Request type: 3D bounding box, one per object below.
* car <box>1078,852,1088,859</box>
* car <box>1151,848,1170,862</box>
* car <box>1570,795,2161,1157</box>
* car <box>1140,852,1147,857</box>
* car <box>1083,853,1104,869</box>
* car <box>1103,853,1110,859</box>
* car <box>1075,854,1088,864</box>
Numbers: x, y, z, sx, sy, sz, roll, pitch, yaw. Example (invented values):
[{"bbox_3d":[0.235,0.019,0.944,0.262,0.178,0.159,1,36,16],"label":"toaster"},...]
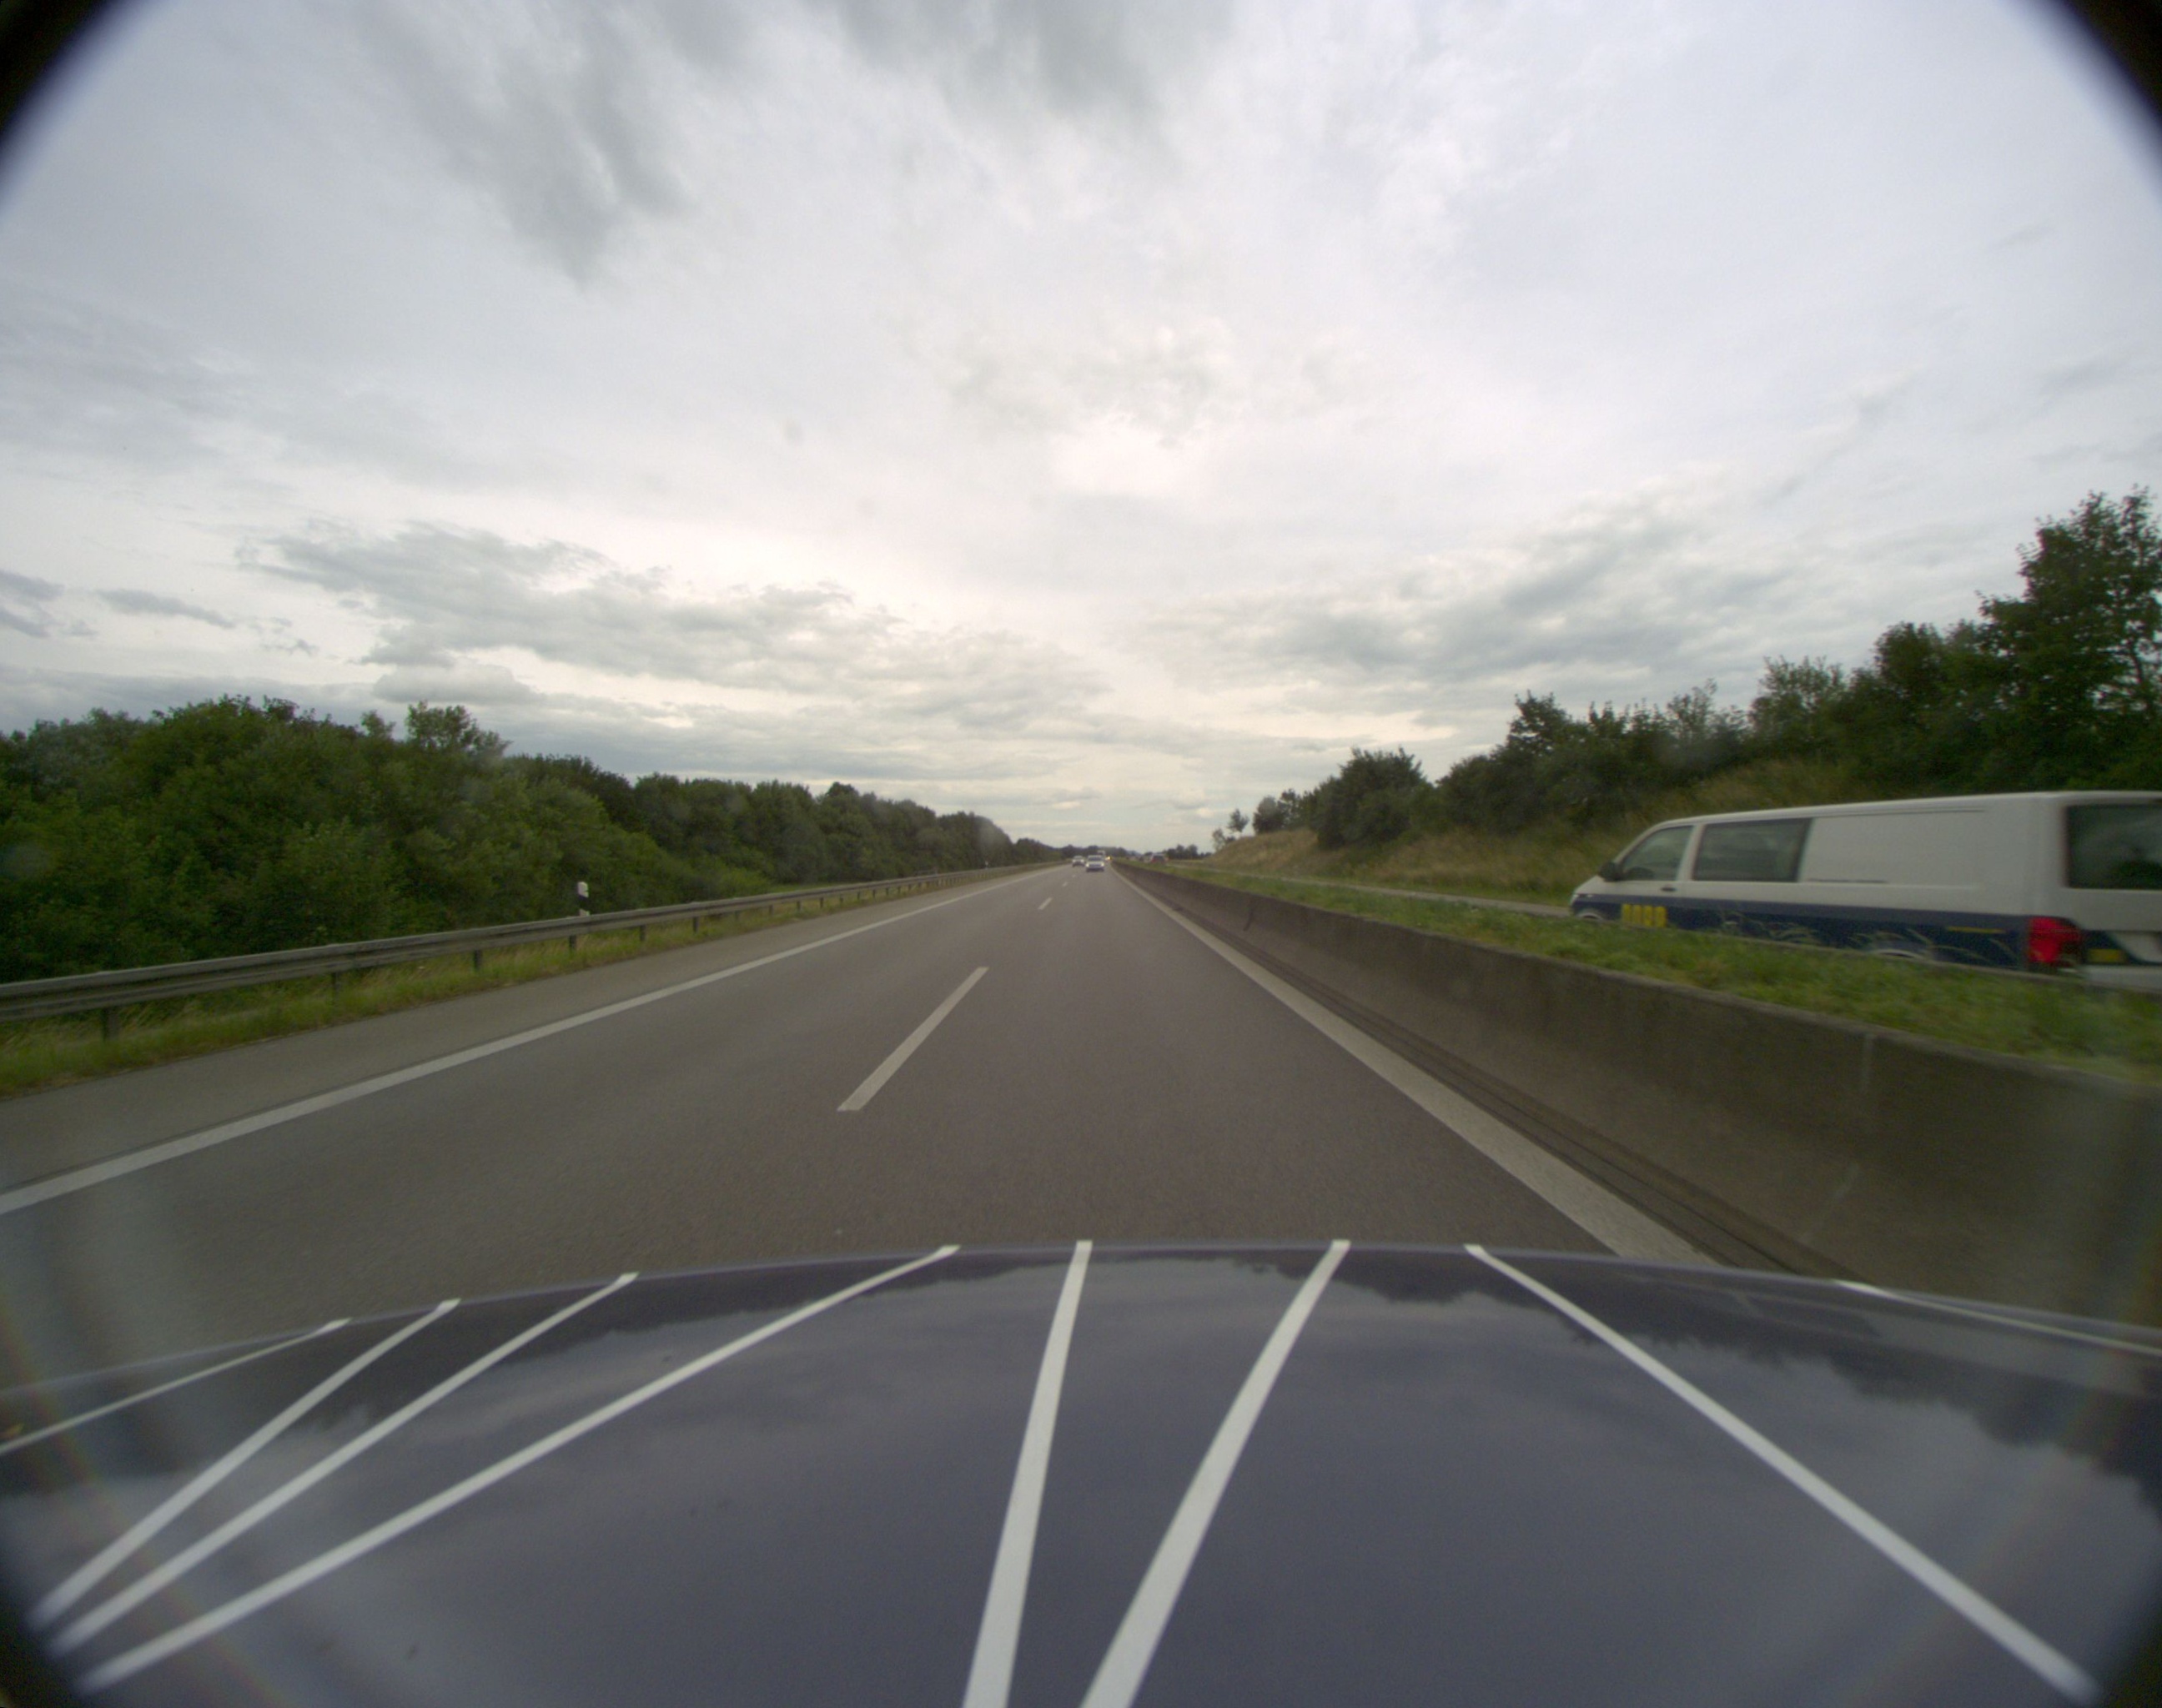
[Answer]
[{"bbox_3d":[0.531,0.307,169.229,1.915,1.553,4.289,-1,1,4],"label":"car"},{"bbox_3d":[9.736,0.107,93.602,1.924,1.684,4.597,0,0,1],"label":"car"},{"bbox_3d":[6.951,0.650,6.685,1.984,2.002,5.130,-2,0,0],"label":"car"},{"bbox_3d":[18.932,0.209,229.792,1.850,1.488,4.580,1,0,2],"label":"car"},{"bbox_3d":[1.243,0.666,76.572,1.916,1.553,4.287,-1,1,-1],"label":"car"},{"bbox_3d":[6.837,0.466,202.722,1.915,1.553,4.289,-1,1,4],"label":"car"},{"bbox_3d":[0.100,0.742,120.846,1.915,1.553,4.289,-1,1,4],"label":"car"}]
